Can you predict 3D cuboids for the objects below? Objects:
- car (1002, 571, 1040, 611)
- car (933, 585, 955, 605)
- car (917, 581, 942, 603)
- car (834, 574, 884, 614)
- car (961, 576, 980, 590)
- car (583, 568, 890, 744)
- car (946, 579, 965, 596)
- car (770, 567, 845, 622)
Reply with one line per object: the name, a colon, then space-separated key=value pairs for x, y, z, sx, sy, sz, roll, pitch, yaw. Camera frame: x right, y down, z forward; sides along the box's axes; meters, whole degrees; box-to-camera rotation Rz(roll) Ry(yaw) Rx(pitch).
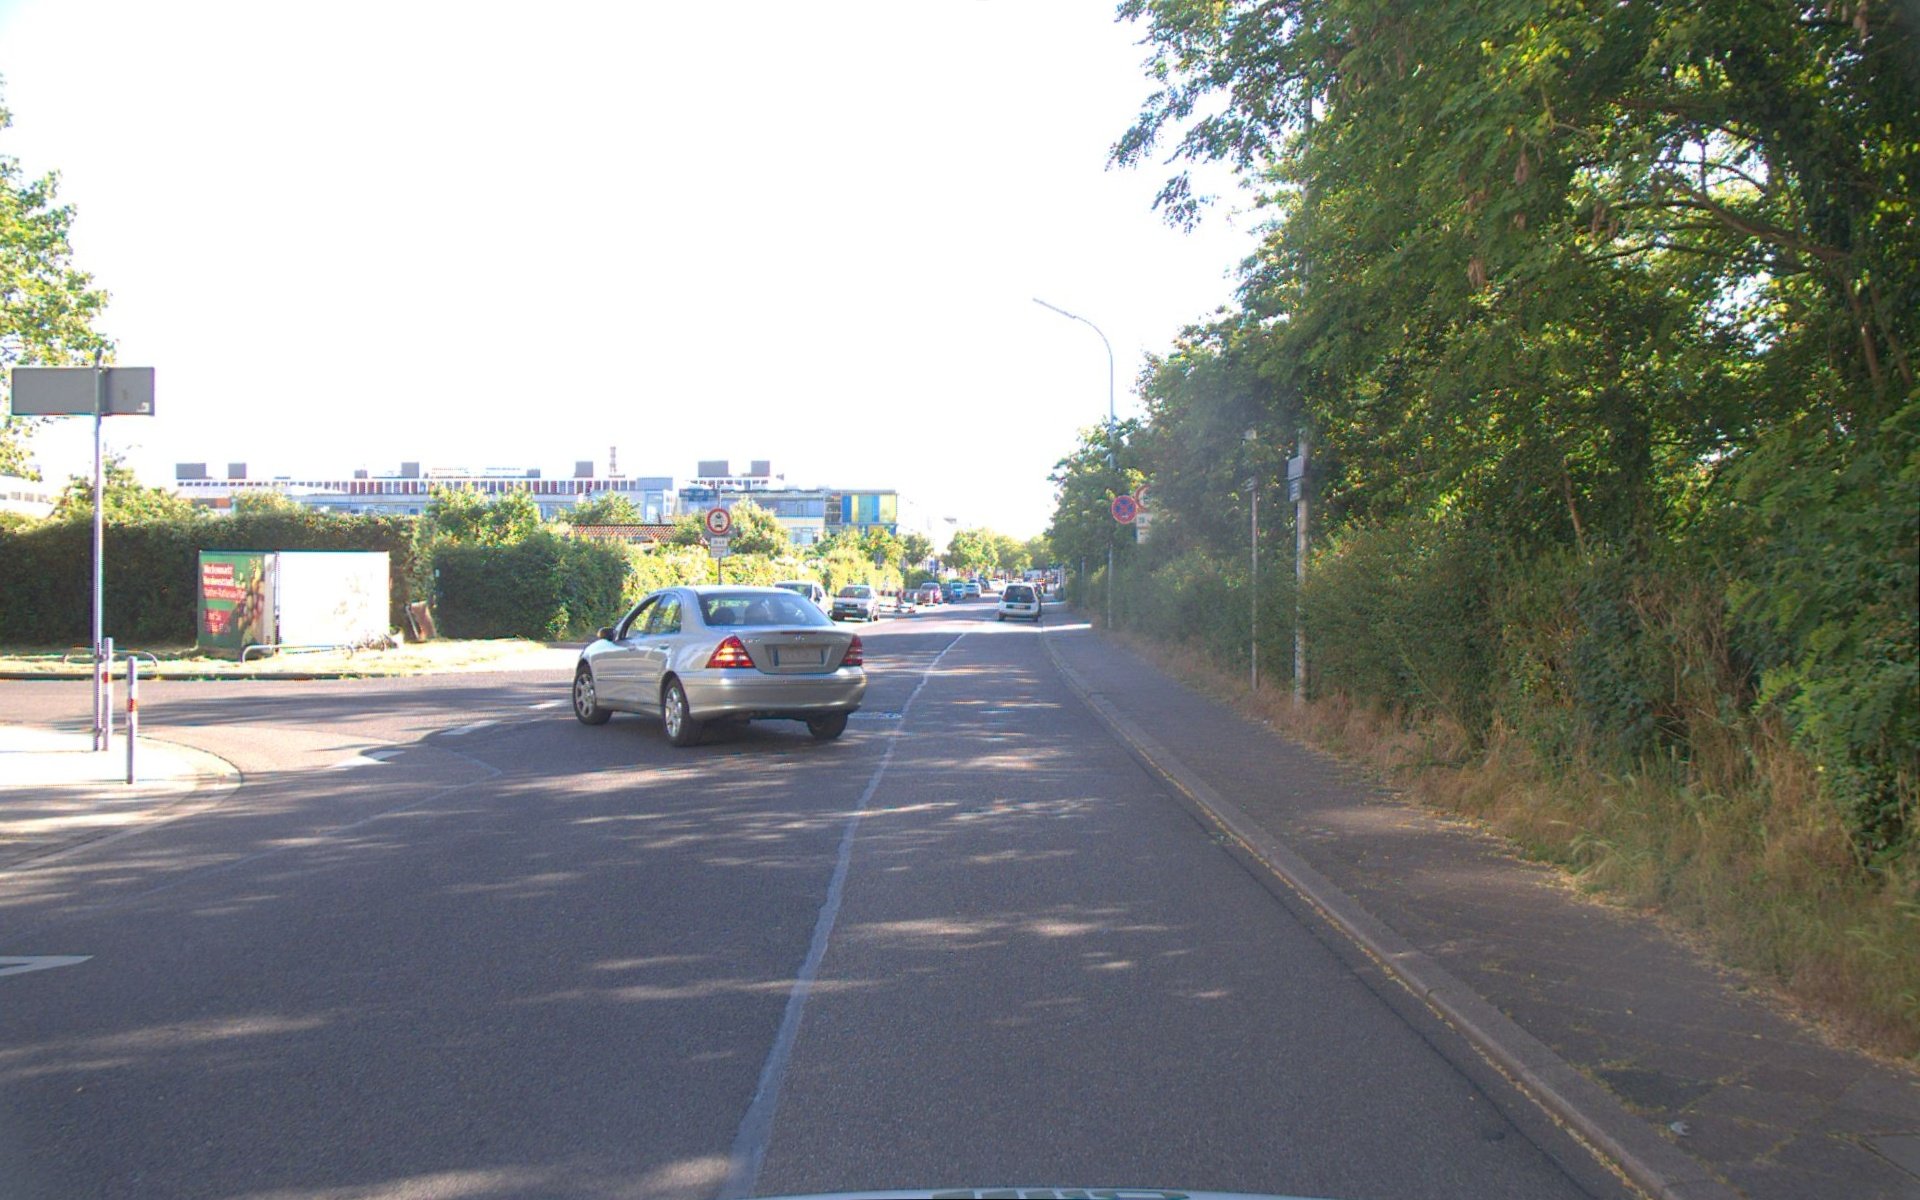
car: x=2.578 y=-0.373 z=69.487 sx=1.523 sy=1.565 sz=3.557 roll=2 pitch=0 yaw=3
car: x=-1.284 y=-0.430 z=134.583 sx=1.527 sy=1.521 sz=3.572 roll=2 pitch=0 yaw=3
car: x=-2.125 y=-0.575 z=116.407 sx=1.527 sy=1.521 sz=3.572 roll=-1 pitch=0 yaw=3
car: x=-4.188 y=-0.261 z=69.221 sx=1.609 sy=1.583 sz=4.419 roll=-1 pitch=0 yaw=3
car: x=1.162 y=-1.873 z=180.882 sx=1.816 sy=1.453 sz=4.135 roll=1 pitch=0 yaw=3
car: x=-2.311 y=0.433 z=16.193 sx=1.718 sy=1.478 sz=3.963 roll=-1 pitch=1 yaw=-28
car: x=-0.402 y=-1.123 z=151.612 sx=1.527 sy=1.521 sz=3.760 roll=-1 pitch=0 yaw=3
car: x=-4.765 y=-0.176 z=52.128 sx=1.609 sy=1.628 sz=4.314 roll=1 pitch=0 yaw=5
